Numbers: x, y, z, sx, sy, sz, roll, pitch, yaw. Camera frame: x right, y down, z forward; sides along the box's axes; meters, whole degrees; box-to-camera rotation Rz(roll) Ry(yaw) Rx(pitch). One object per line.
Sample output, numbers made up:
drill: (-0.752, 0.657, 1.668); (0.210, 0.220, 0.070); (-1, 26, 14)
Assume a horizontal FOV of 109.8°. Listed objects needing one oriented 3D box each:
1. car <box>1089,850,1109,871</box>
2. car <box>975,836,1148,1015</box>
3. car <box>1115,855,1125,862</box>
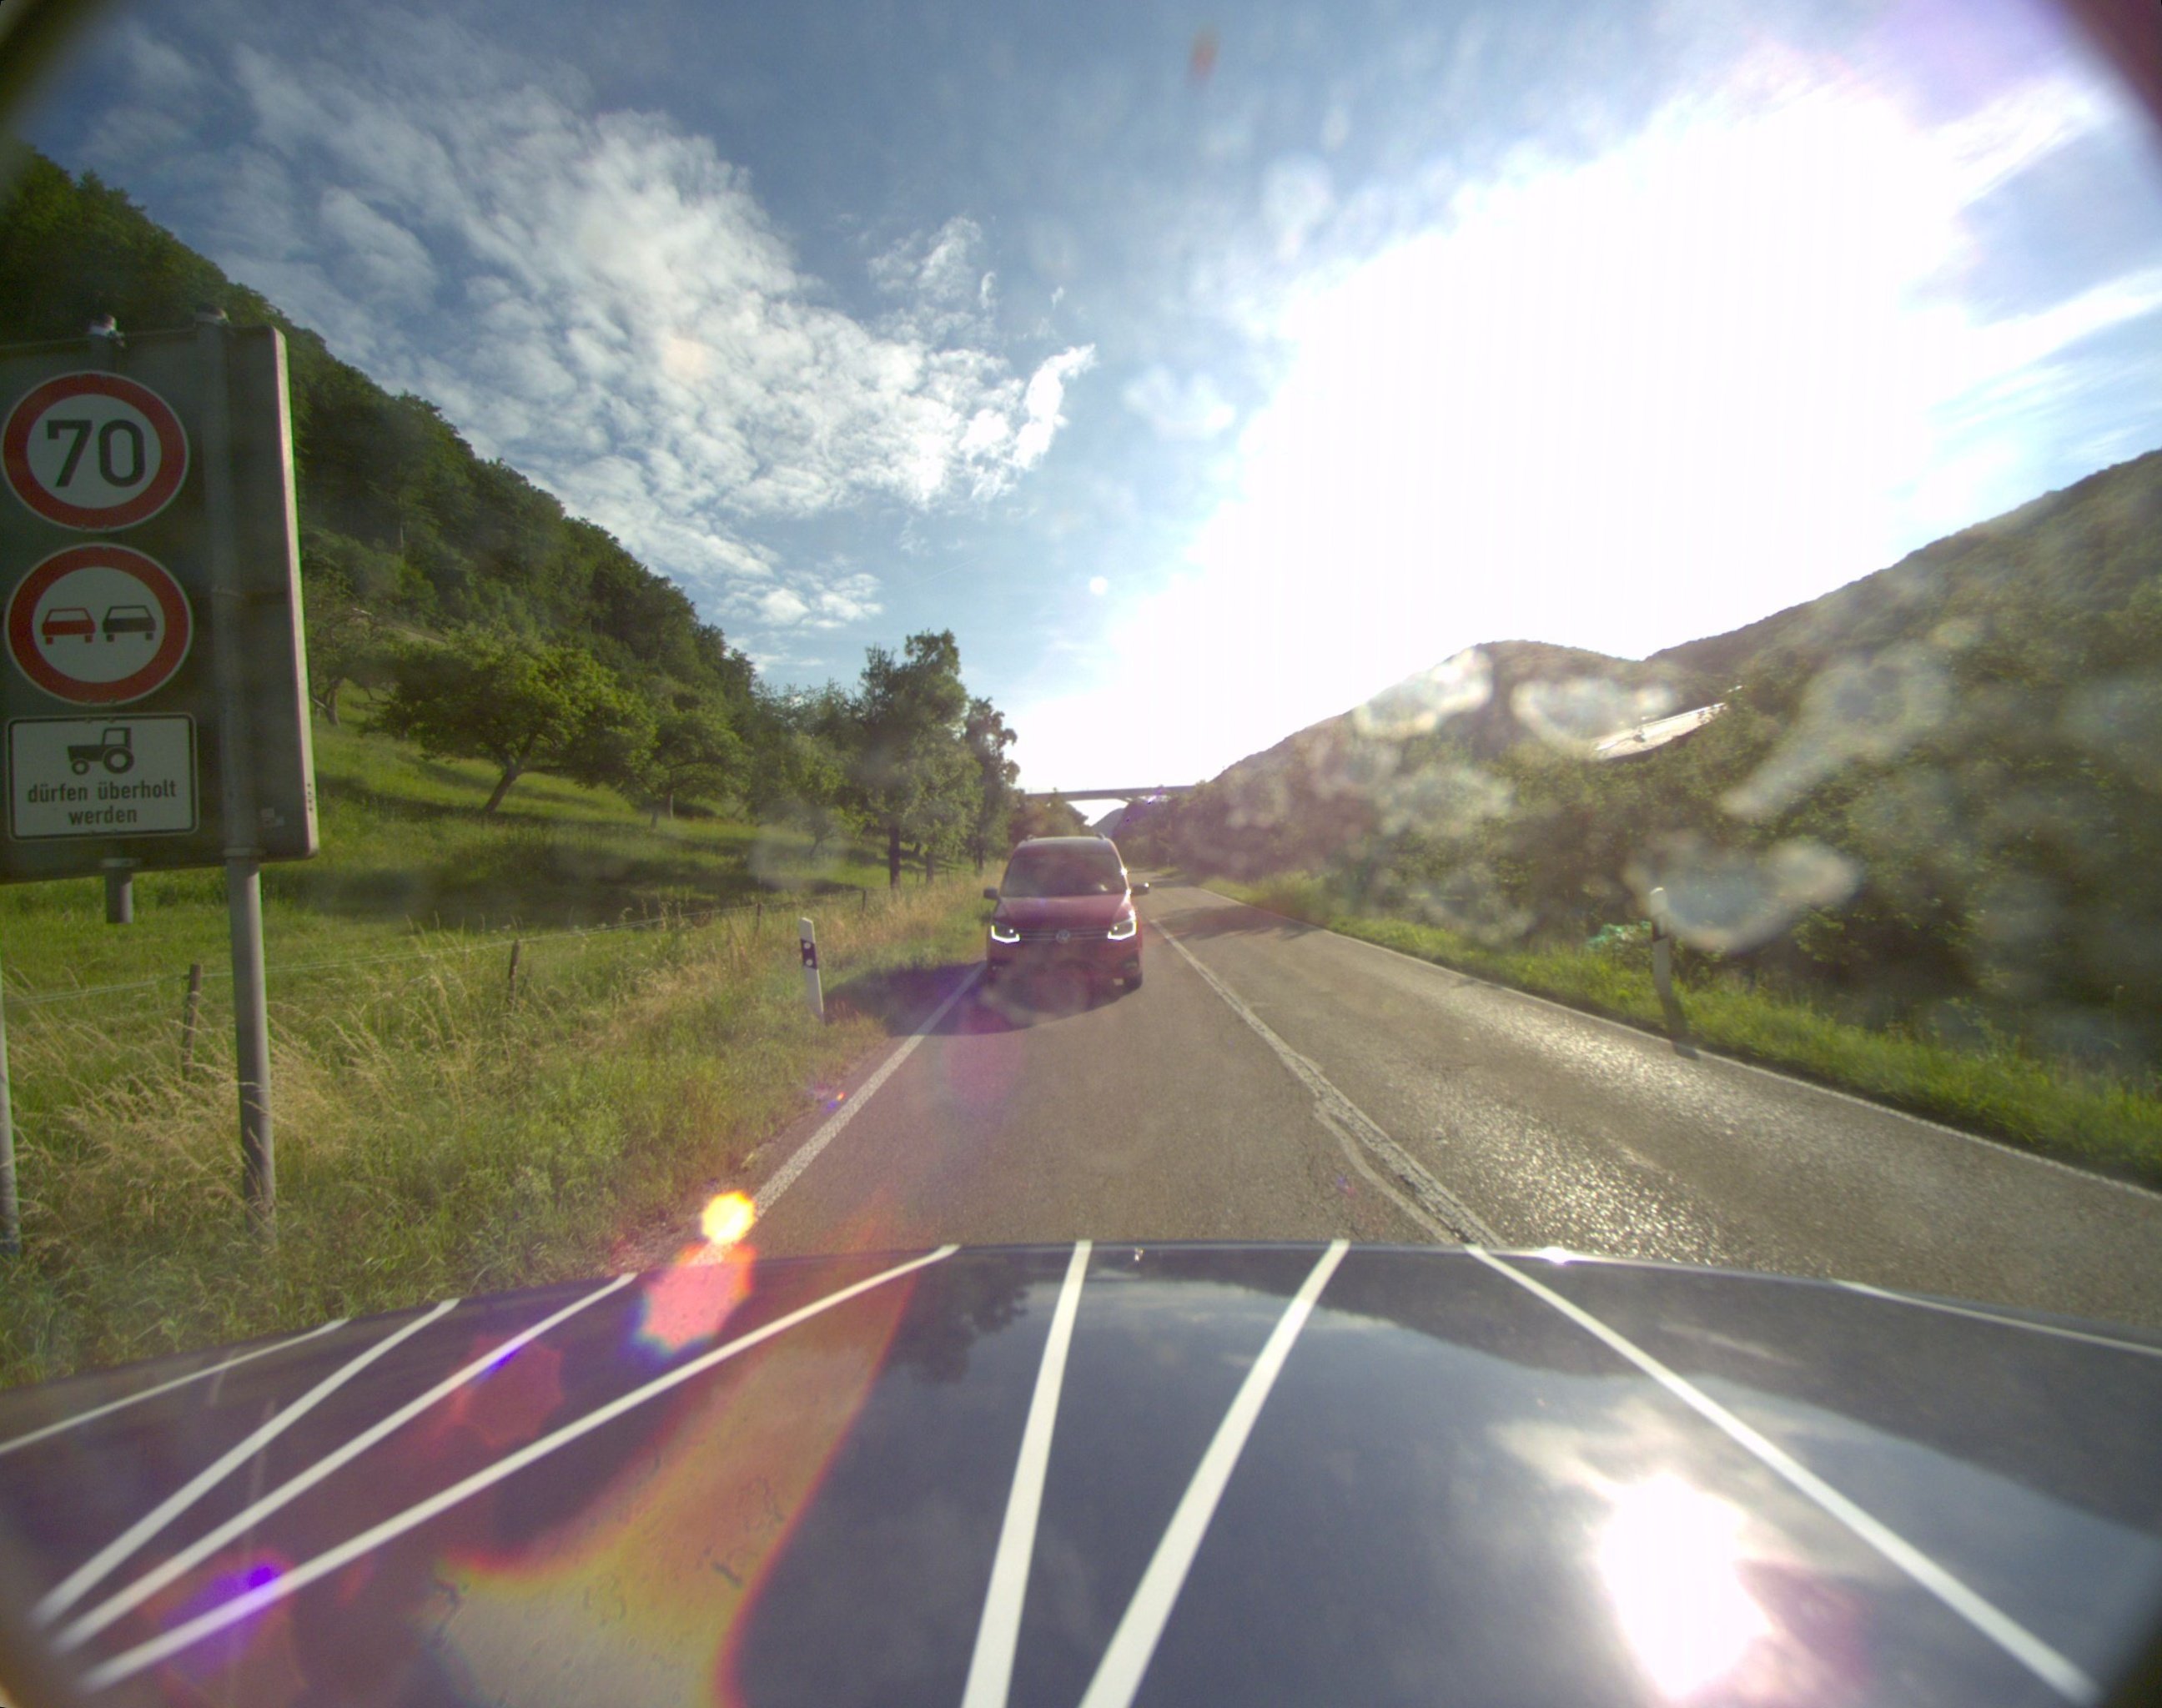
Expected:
car: (1.828, 0.630, 78.693); (1.998, 2.002, 3.999); (-2, 1, 1)
car: (-0.214, 0.739, 9.802); (1.741, 1.803, 4.000); (-1, 0, 0)
car: (7.715, 0.923, 150.081); (1.696, 1.401, 3.663); (-1, 1, 1)
